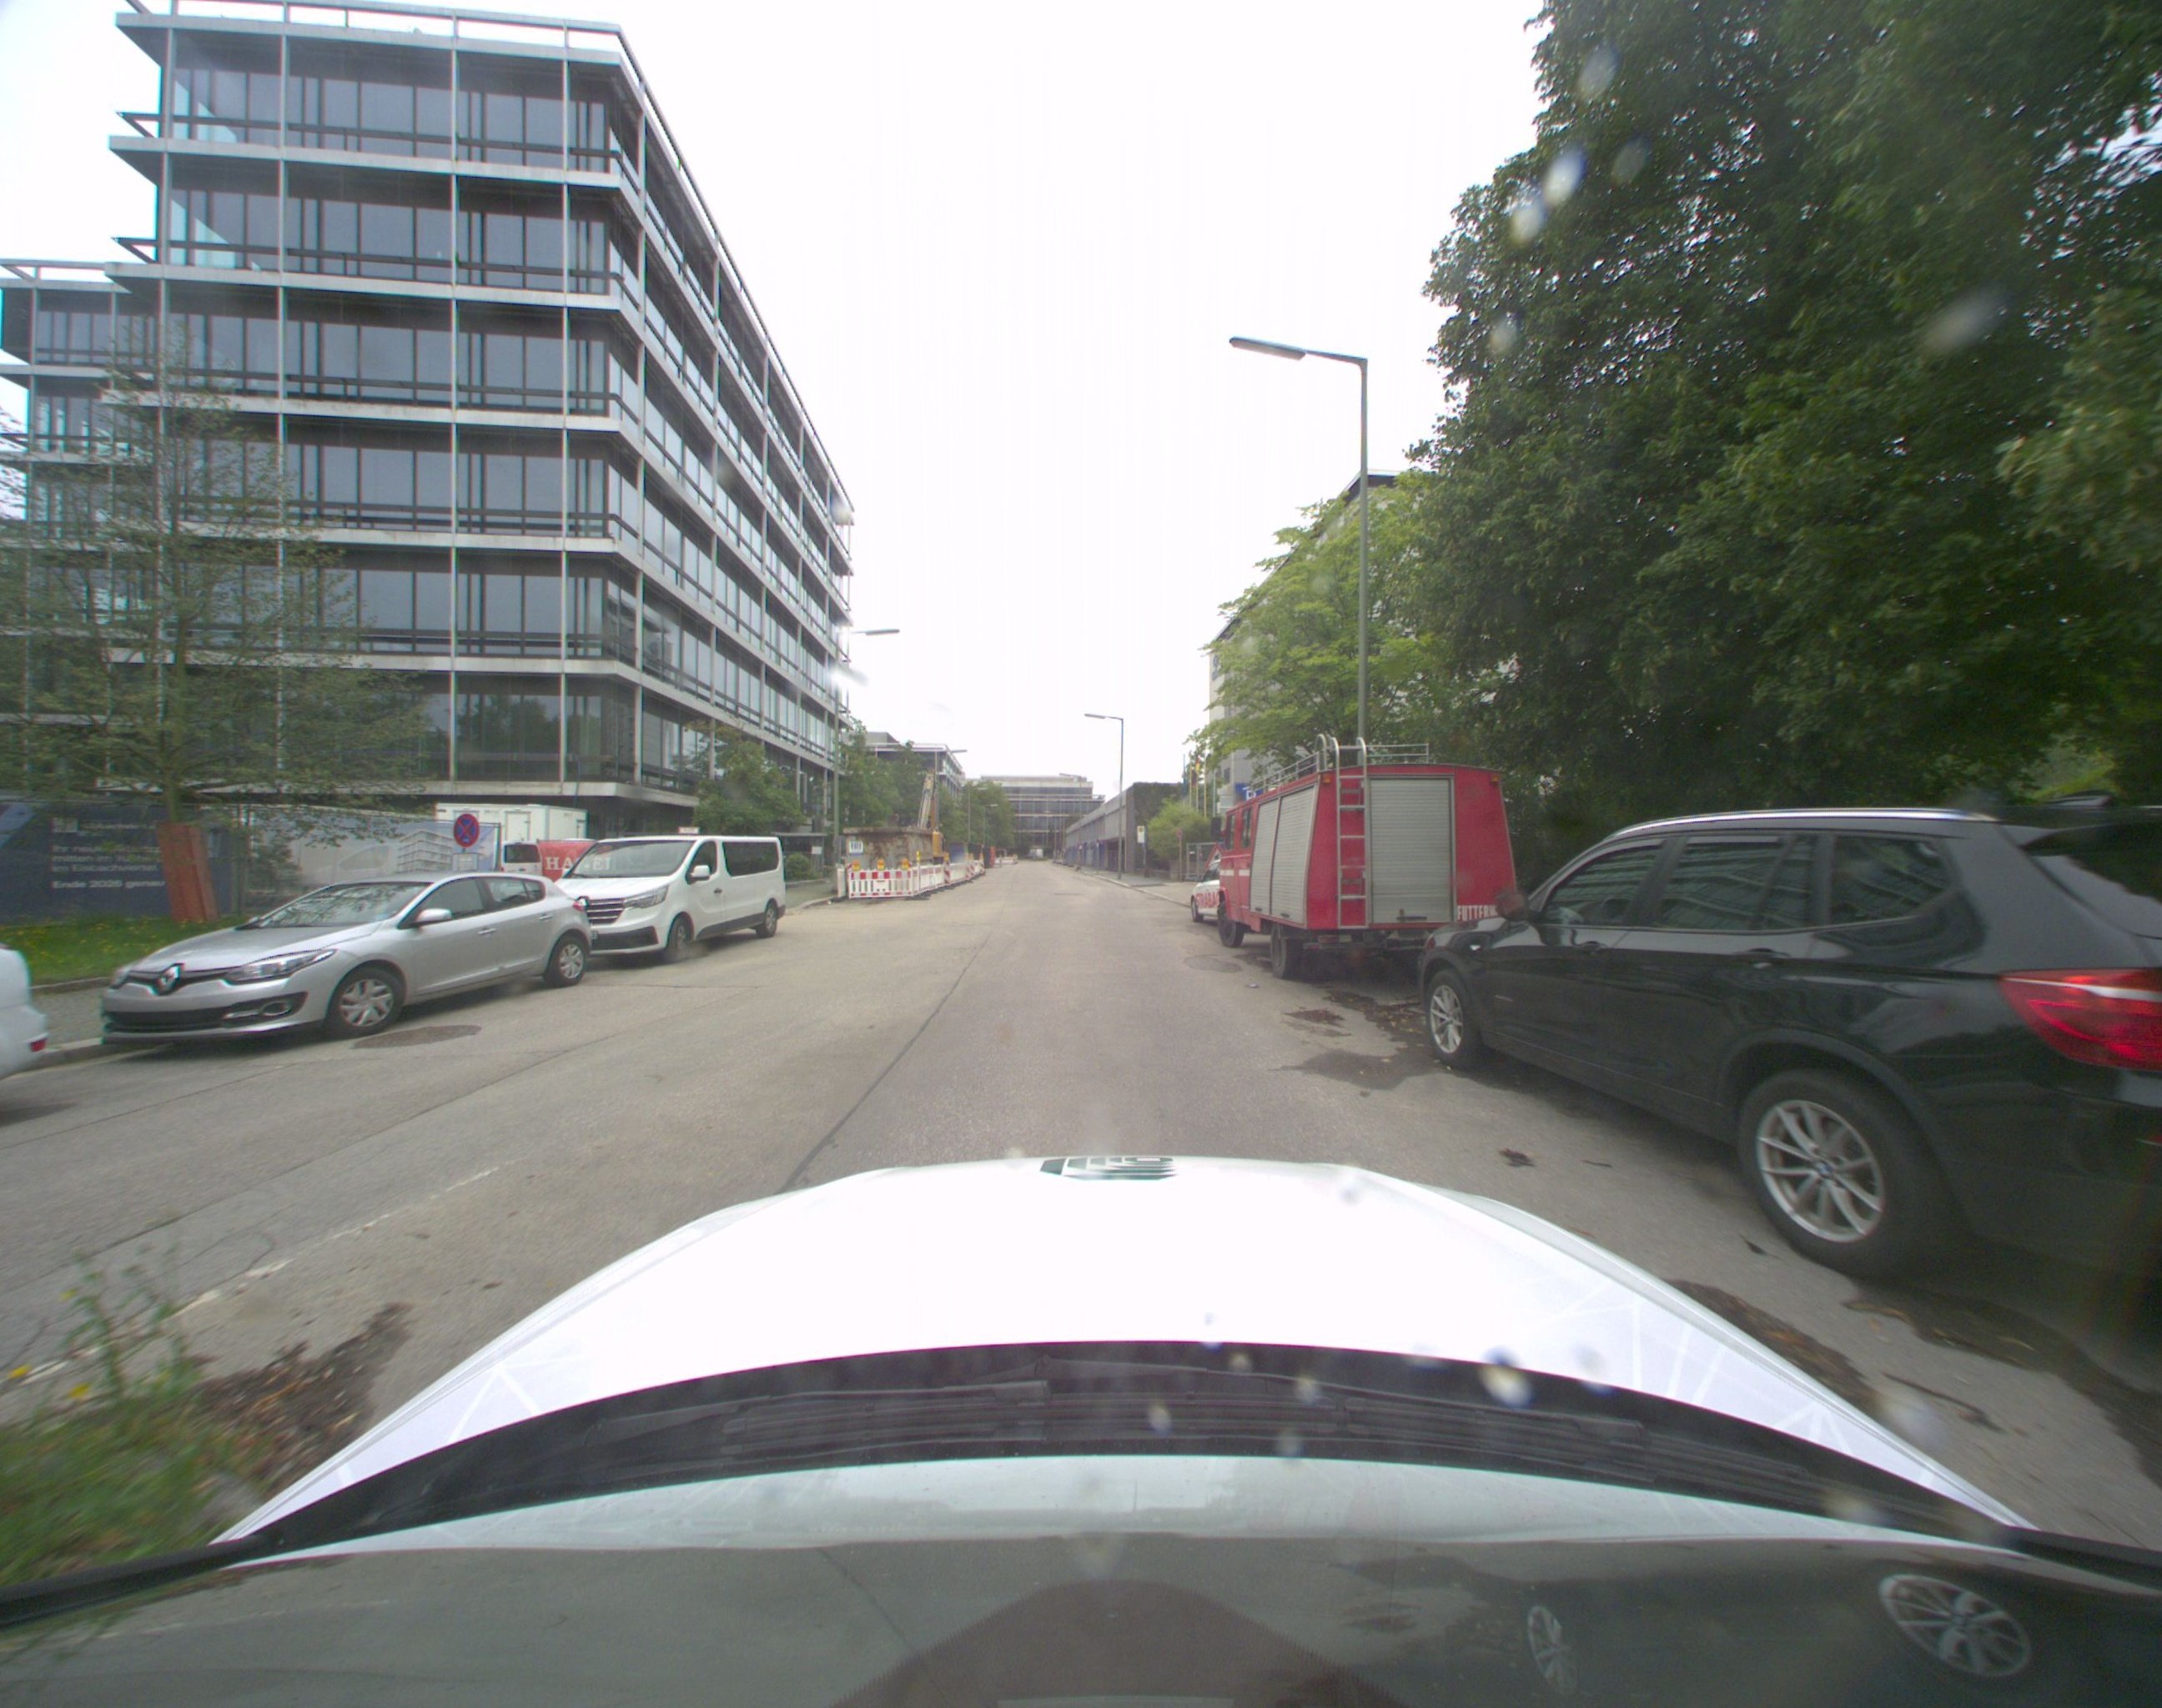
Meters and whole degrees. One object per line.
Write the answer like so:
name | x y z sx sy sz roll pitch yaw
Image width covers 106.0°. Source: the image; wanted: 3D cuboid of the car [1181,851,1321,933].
car | 3.521 0.718 17.705 1.774 1.549 4.248 -1 0 -6

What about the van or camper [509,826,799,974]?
van or camper | -6.812 0.594 13.906 1.986 2.013 5.378 -1 1 1

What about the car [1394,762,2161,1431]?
car | 3.440 0.579 4.277 1.771 1.649 4.457 -1 0 -2

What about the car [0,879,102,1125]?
car | -7.729 0.935 3.460 1.756 1.486 4.231 -1 0 9

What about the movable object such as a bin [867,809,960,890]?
movable object such as a bin | -8.428 -0.264 42.326 3.233 3.716 9.001 -1 1 -2

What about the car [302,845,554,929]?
car | -16.778 0.803 21.140 4.750 1.921 1.998 -1 0 -3

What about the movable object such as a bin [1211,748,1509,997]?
movable object such as a bin | 3.269 0.173 11.191 2.096 2.458 6.188 -1 0 1

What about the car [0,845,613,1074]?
car | -7.228 0.784 8.431 1.985 1.728 4.453 -1 1 3
